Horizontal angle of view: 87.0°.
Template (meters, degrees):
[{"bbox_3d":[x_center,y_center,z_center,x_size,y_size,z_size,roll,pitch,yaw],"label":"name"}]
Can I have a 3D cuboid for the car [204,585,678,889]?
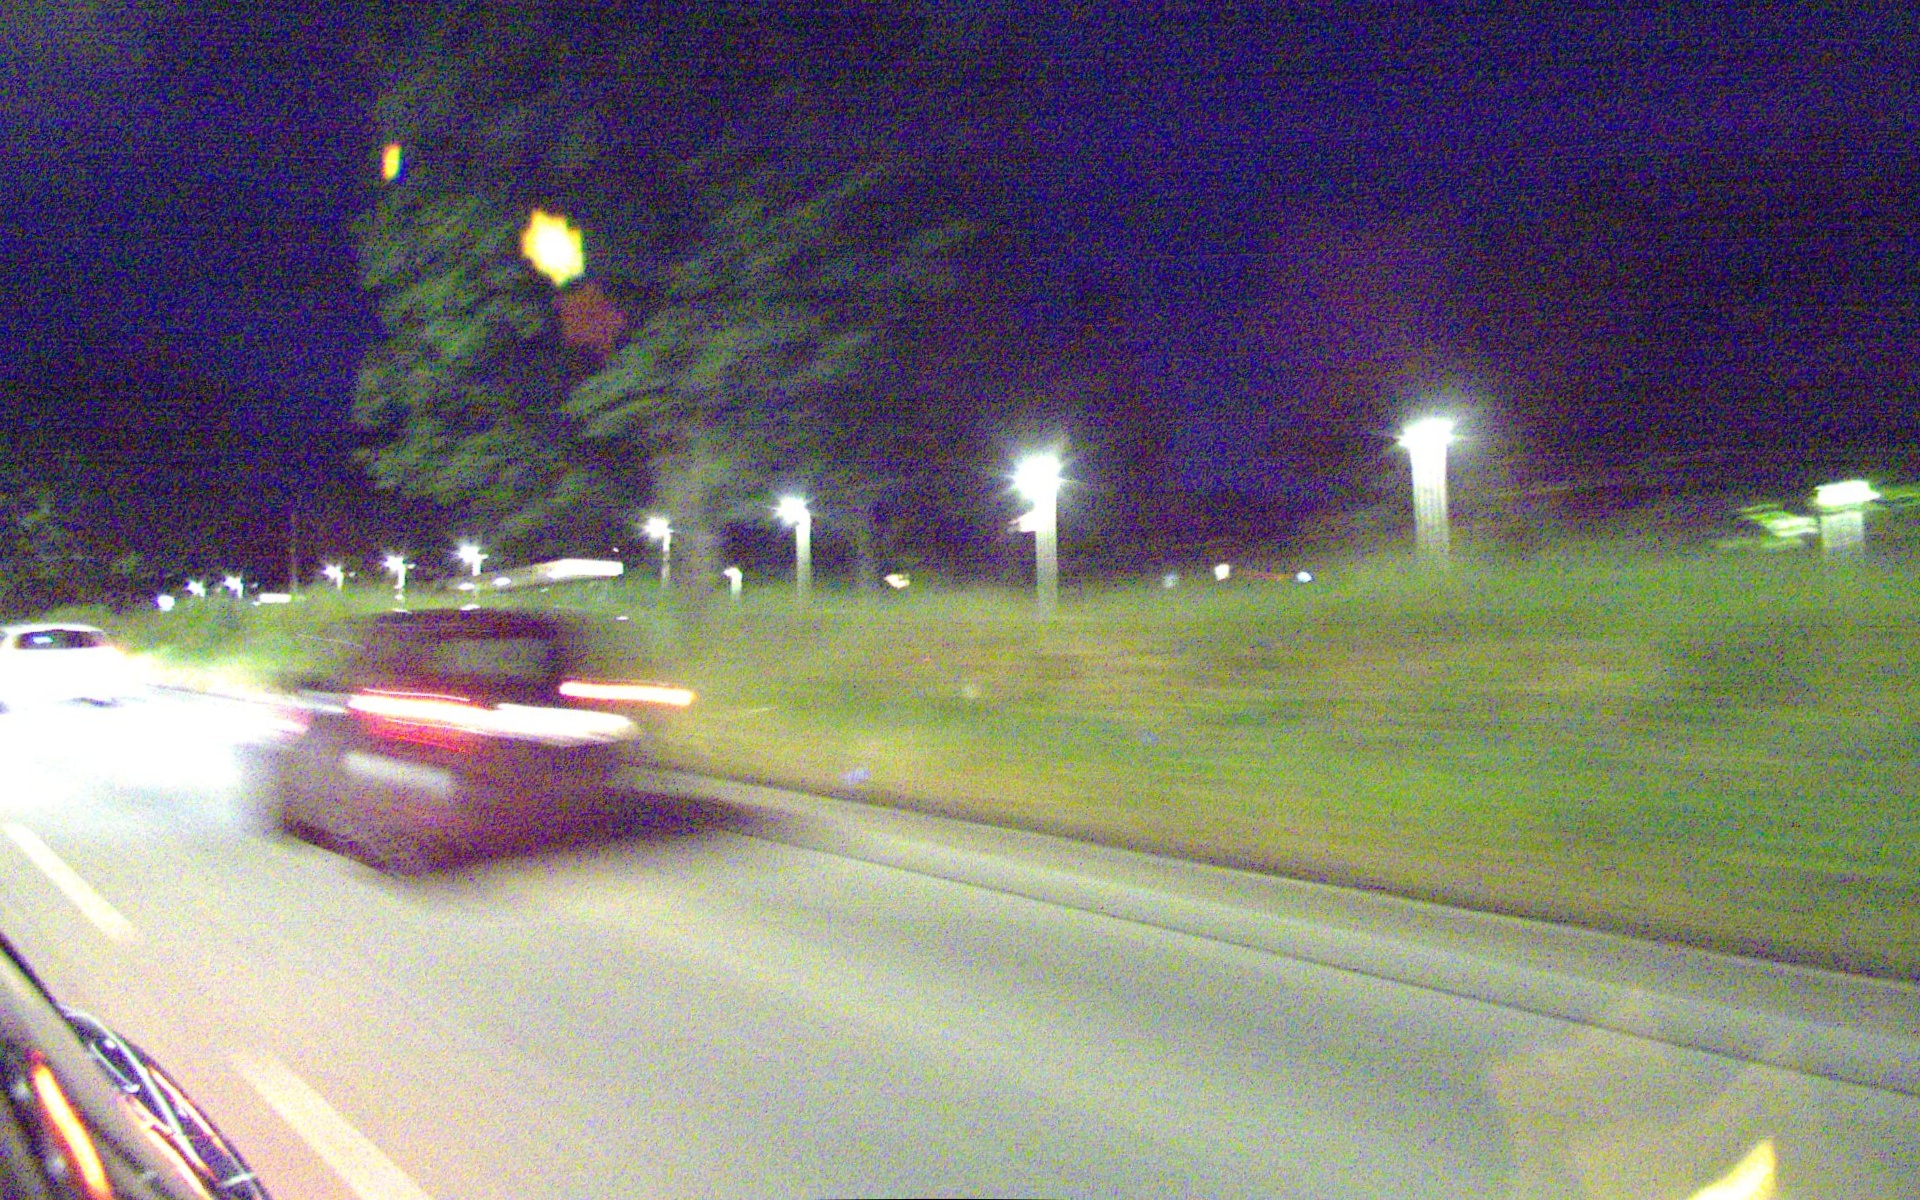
[{"bbox_3d":[-3.621,0.714,6.807,3.555,1.503,1.630,-2,-1,41],"label":"car"}]

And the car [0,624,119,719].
[{"bbox_3d":[-16.234,1.172,17.765,3.998,1.468,1.670,-1,-1,41],"label":"car"}]
